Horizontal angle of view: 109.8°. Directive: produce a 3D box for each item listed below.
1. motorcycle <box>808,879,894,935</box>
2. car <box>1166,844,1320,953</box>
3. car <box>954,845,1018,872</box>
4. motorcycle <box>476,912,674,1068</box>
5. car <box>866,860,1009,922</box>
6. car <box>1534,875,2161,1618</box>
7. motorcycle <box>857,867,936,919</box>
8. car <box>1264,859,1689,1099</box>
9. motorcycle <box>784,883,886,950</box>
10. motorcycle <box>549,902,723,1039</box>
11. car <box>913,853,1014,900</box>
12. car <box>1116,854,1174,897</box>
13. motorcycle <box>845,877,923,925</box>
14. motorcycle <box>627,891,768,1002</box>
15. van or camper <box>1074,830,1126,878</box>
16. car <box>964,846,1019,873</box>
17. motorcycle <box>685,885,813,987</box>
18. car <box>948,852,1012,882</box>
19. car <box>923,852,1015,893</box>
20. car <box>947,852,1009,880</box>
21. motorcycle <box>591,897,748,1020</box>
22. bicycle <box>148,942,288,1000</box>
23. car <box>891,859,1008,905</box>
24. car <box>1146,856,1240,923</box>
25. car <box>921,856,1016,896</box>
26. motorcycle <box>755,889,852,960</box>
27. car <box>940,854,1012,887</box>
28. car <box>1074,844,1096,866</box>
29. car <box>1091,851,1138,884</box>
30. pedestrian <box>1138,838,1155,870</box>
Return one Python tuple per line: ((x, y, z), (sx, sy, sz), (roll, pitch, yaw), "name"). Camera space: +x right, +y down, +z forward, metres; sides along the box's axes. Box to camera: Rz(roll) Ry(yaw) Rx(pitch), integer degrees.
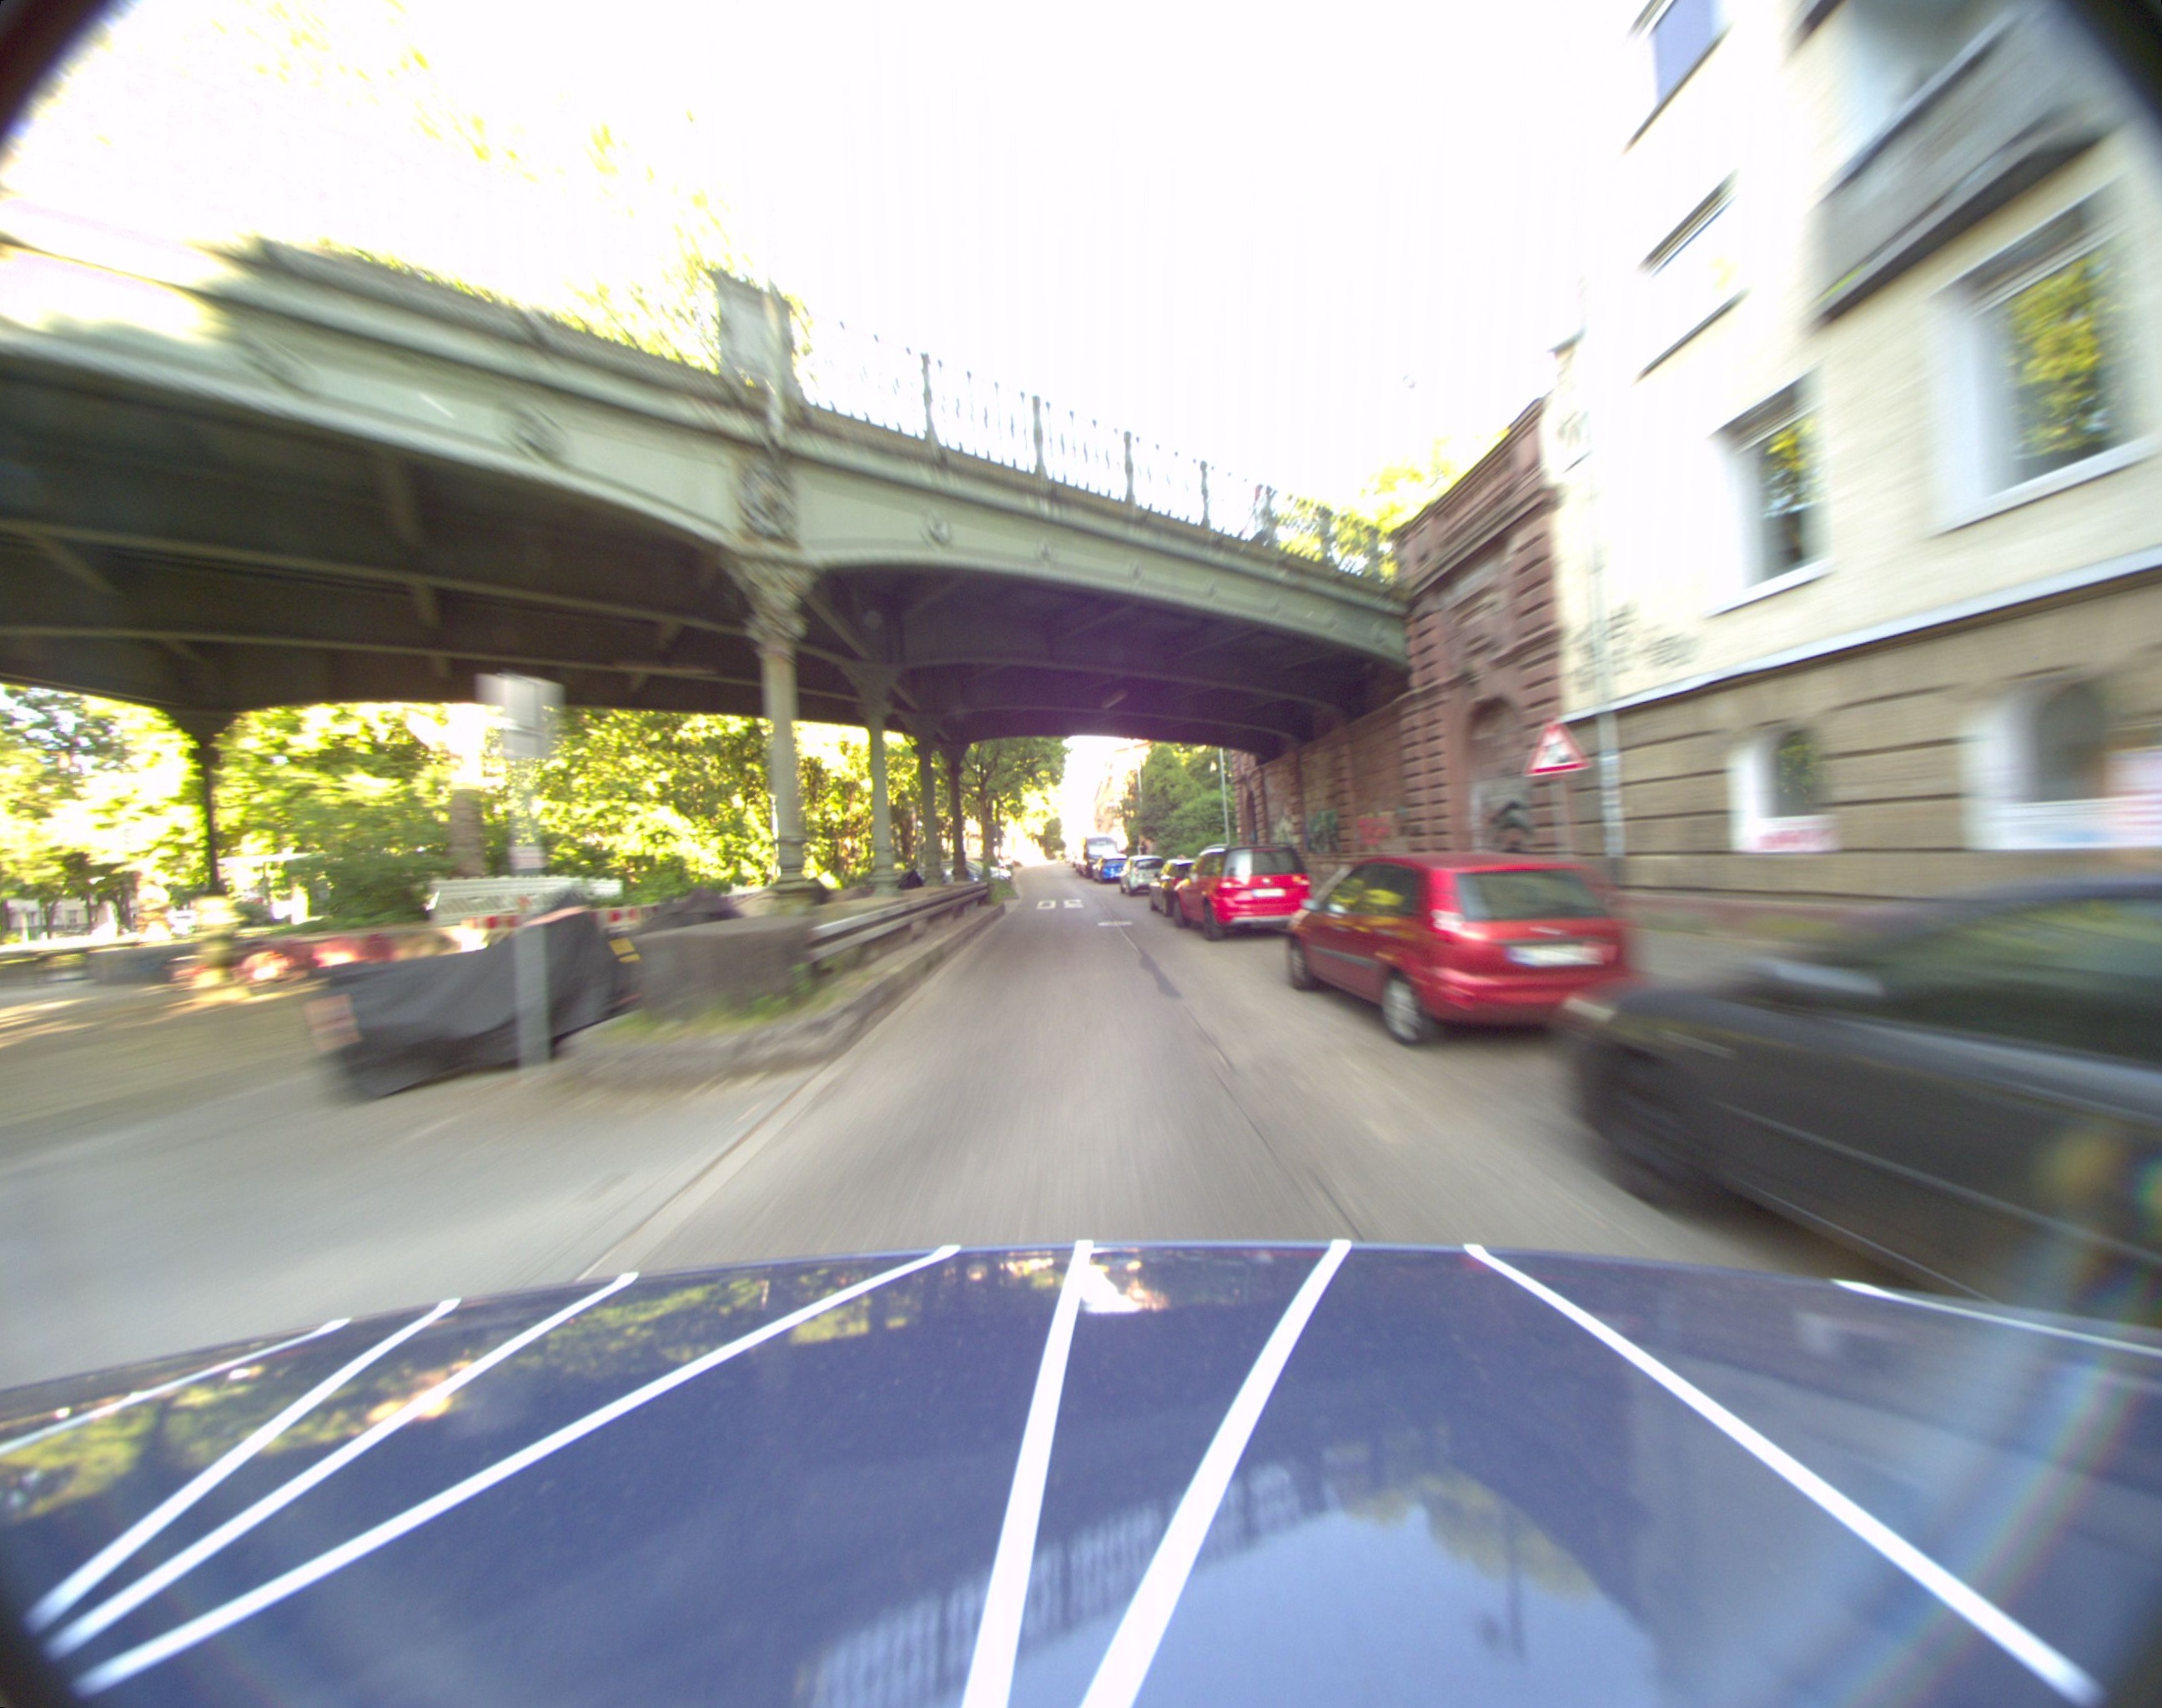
((-5.511, 1.240, 18.249), (1.728, 1.126, 0.711), (-6, 2, -36), "motorcycle")
((2.889, 0.719, 14.551), (1.722, 1.698, 4.321), (-3, 0, -4), "car")
((-7.168, 0.311, 57.603), (4.684, 1.914, 1.871), (-2, 2, -4), "car")
((-5.126, 1.362, 7.721), (1.602, 1.400, 0.713), (-4, 2, 18), "motorcycle")
((-4.704, 1.196, 25.396), (4.386, 1.569, 1.673), (-5, 2, -4), "car")
((3.057, 0.848, 1.691), (1.641, 1.458, 3.999), (-1, 0, -1), "car")
((-5.257, 1.089, 21.644), (1.938, 1.231, 0.903), (-6, 2, -27), "motorcycle")
((3.107, 0.836, 7.016), (1.694, 1.433, 3.999), (-3, 0, -2), "car")
((-5.155, 1.275, 15.910), (1.839, 1.126, 0.849), (-6, 2, -25), "motorcycle")
((-5.103, 1.332, 8.734), (1.602, 1.400, 0.713), (-4, 2, 18), "motorcycle")
((-5.388, 1.025, 35.347), (4.387, 1.699, 1.905), (-5, 2, -6), "car")
((2.491, 0.802, 30.382), (1.599, 1.538, 3.913), (-3, 1, -5), "car")
((-5.168, 1.215, 19.958), (1.728, 1.024, 0.810), (-6, 2, -36), "motorcycle")
((-5.386, 1.302, 10.695), (1.602, 1.400, 0.713), (-4, 2, 18), "motorcycle")
((1.047, -0.073, 46.190), (2.242, 2.509, 6.417), (-5, 2, -5), "van or camper")
((-7.061, 0.455, 60.204), (3.996, 1.748, 1.798), (-5, 2, 2), "car")
((-5.061, 1.249, 11.615), (1.602, 1.400, 0.713), (-4, 2, 18), "motorcycle")
((-6.685, 0.846, 50.476), (3.998, 1.565, 1.586), (-5, 2, -4), "car")
((-5.873, 0.948, 40.403), (4.545, 1.686, 1.906), (-5, 2, -4), "car")
((-7.135, 0.818, 52.821), (3.997, 1.565, 1.665), (-5, 2, 0), "car")
((-5.189, 1.315, 9.600), (1.602, 1.400, 0.713), (-4, 2, 18), "motorcycle")
((-15.963, 2.152, 14.106), (1.618, 0.853, 0.523), (-1, 0, -33), "bicycle")
((-5.573, 1.169, 32.651), (4.597, 1.597, 1.734), (-4, 2, 2), "car")
((2.808, 0.831, 19.836), (1.721, 1.455, 3.999), (-3, 0, -1), "car")
((-5.531, 1.071, 37.856), (4.386, 1.524, 1.875), (-5, 2, -4), "car")
((-5.314, 1.324, 14.623), (1.606, 1.126, 0.711), (-5, 2, -18), "motorcycle")
((-6.248, 0.951, 45.354), (4.032, 1.565, 1.586), (-5, 2, -4), "car")
((0.290, 0.052, 60.401), (1.703, 1.489, 4.548), (-2, 2, 0), "car")
((1.704, 0.660, 39.976), (1.750, 1.458, 4.372), (-5, 2, -6), "car")
((4.008, -0.017, 46.624), (0.639, 1.903, 1.046), (-5, 2, -8), "pedestrian")
